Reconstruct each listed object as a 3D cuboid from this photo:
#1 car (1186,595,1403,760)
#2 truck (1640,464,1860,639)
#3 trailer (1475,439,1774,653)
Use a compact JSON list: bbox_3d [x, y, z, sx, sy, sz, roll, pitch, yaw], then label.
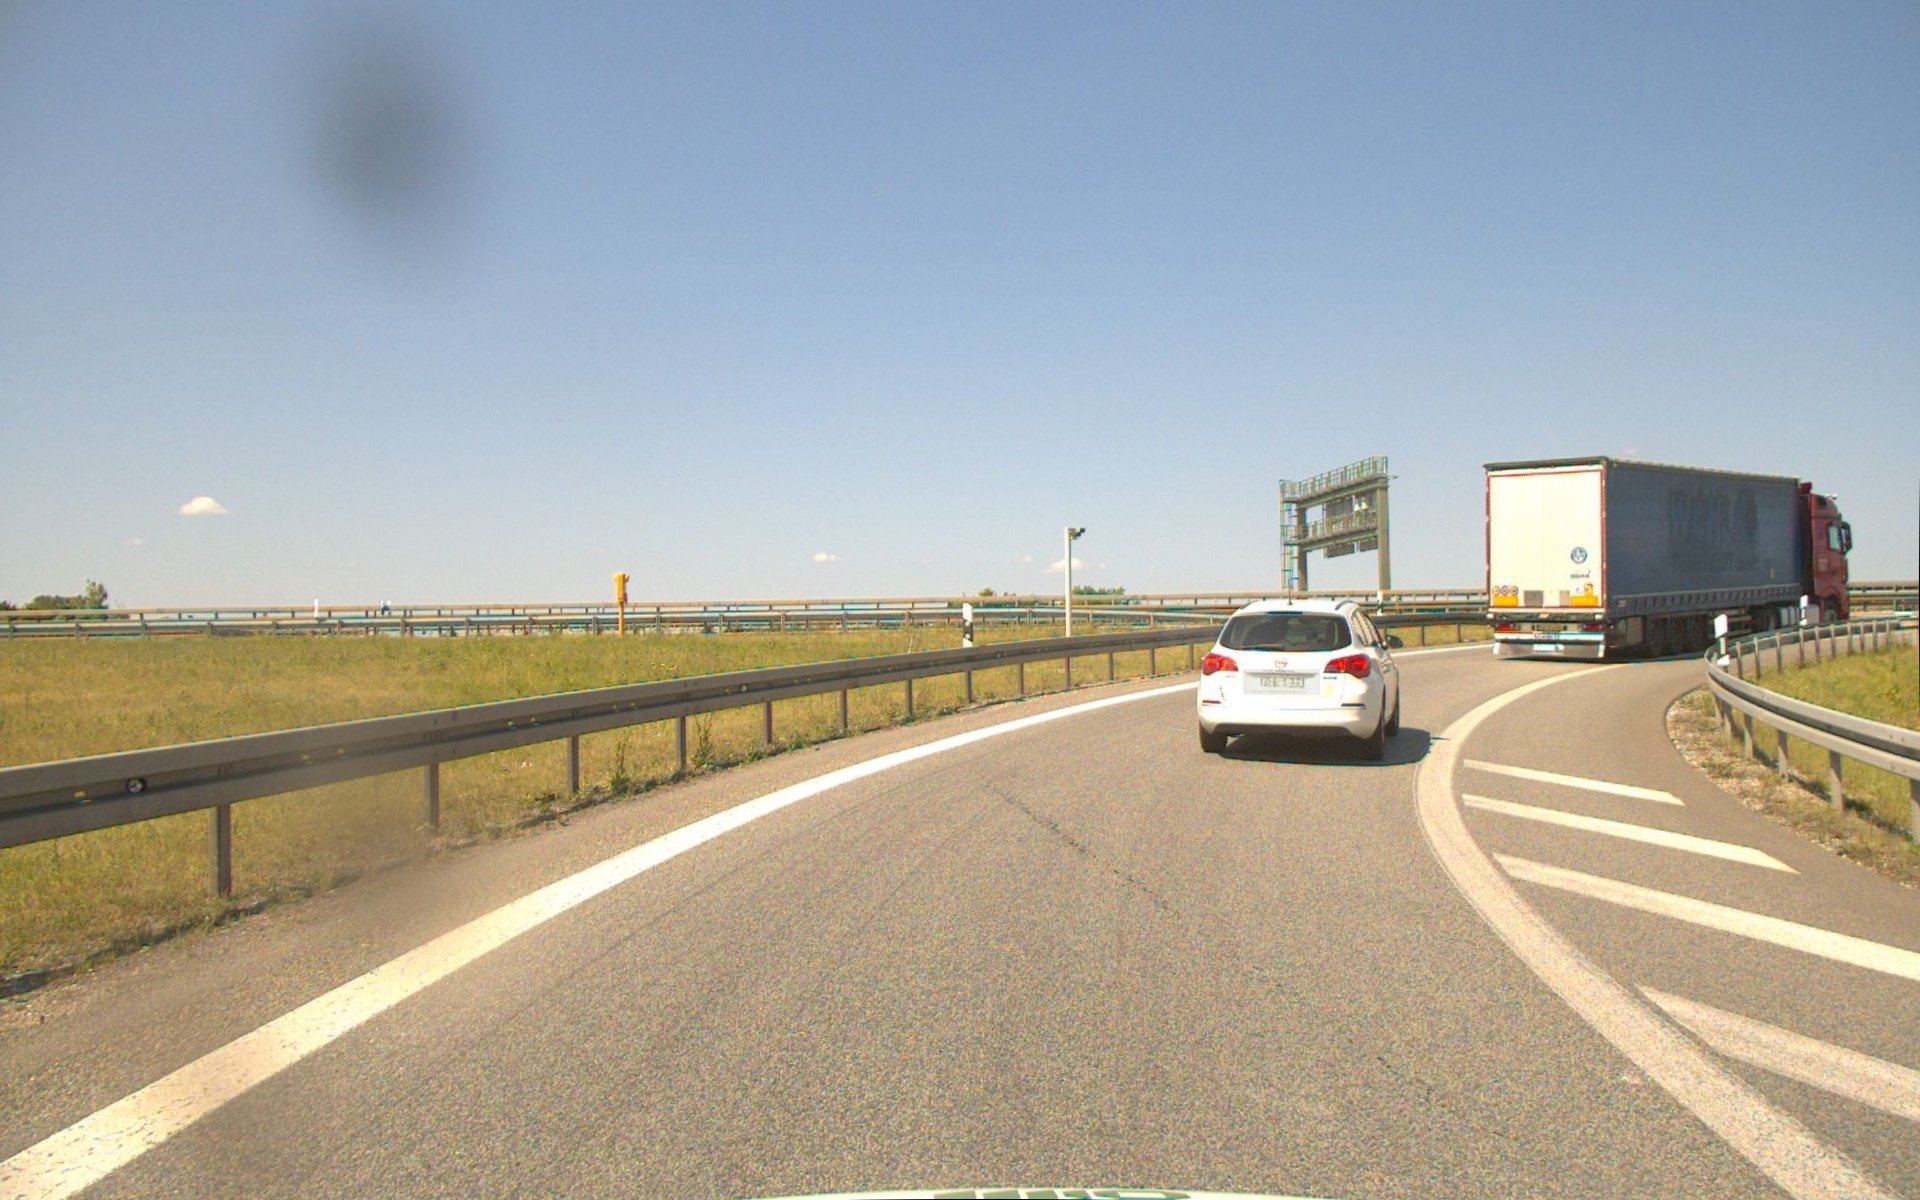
[{"bbox_3d":[3.581,0.703,17.114,1.815,1.468,4.374,0,0,17],"label":"car"},{"bbox_3d":[20.735,-1.160,43.231,6.868,4.218,2.877,1,0,-43],"label":"truck"},{"bbox_3d":[15.473,-1.030,37.776,2.869,4.218,11.193,0,0,41],"label":"trailer"}]
